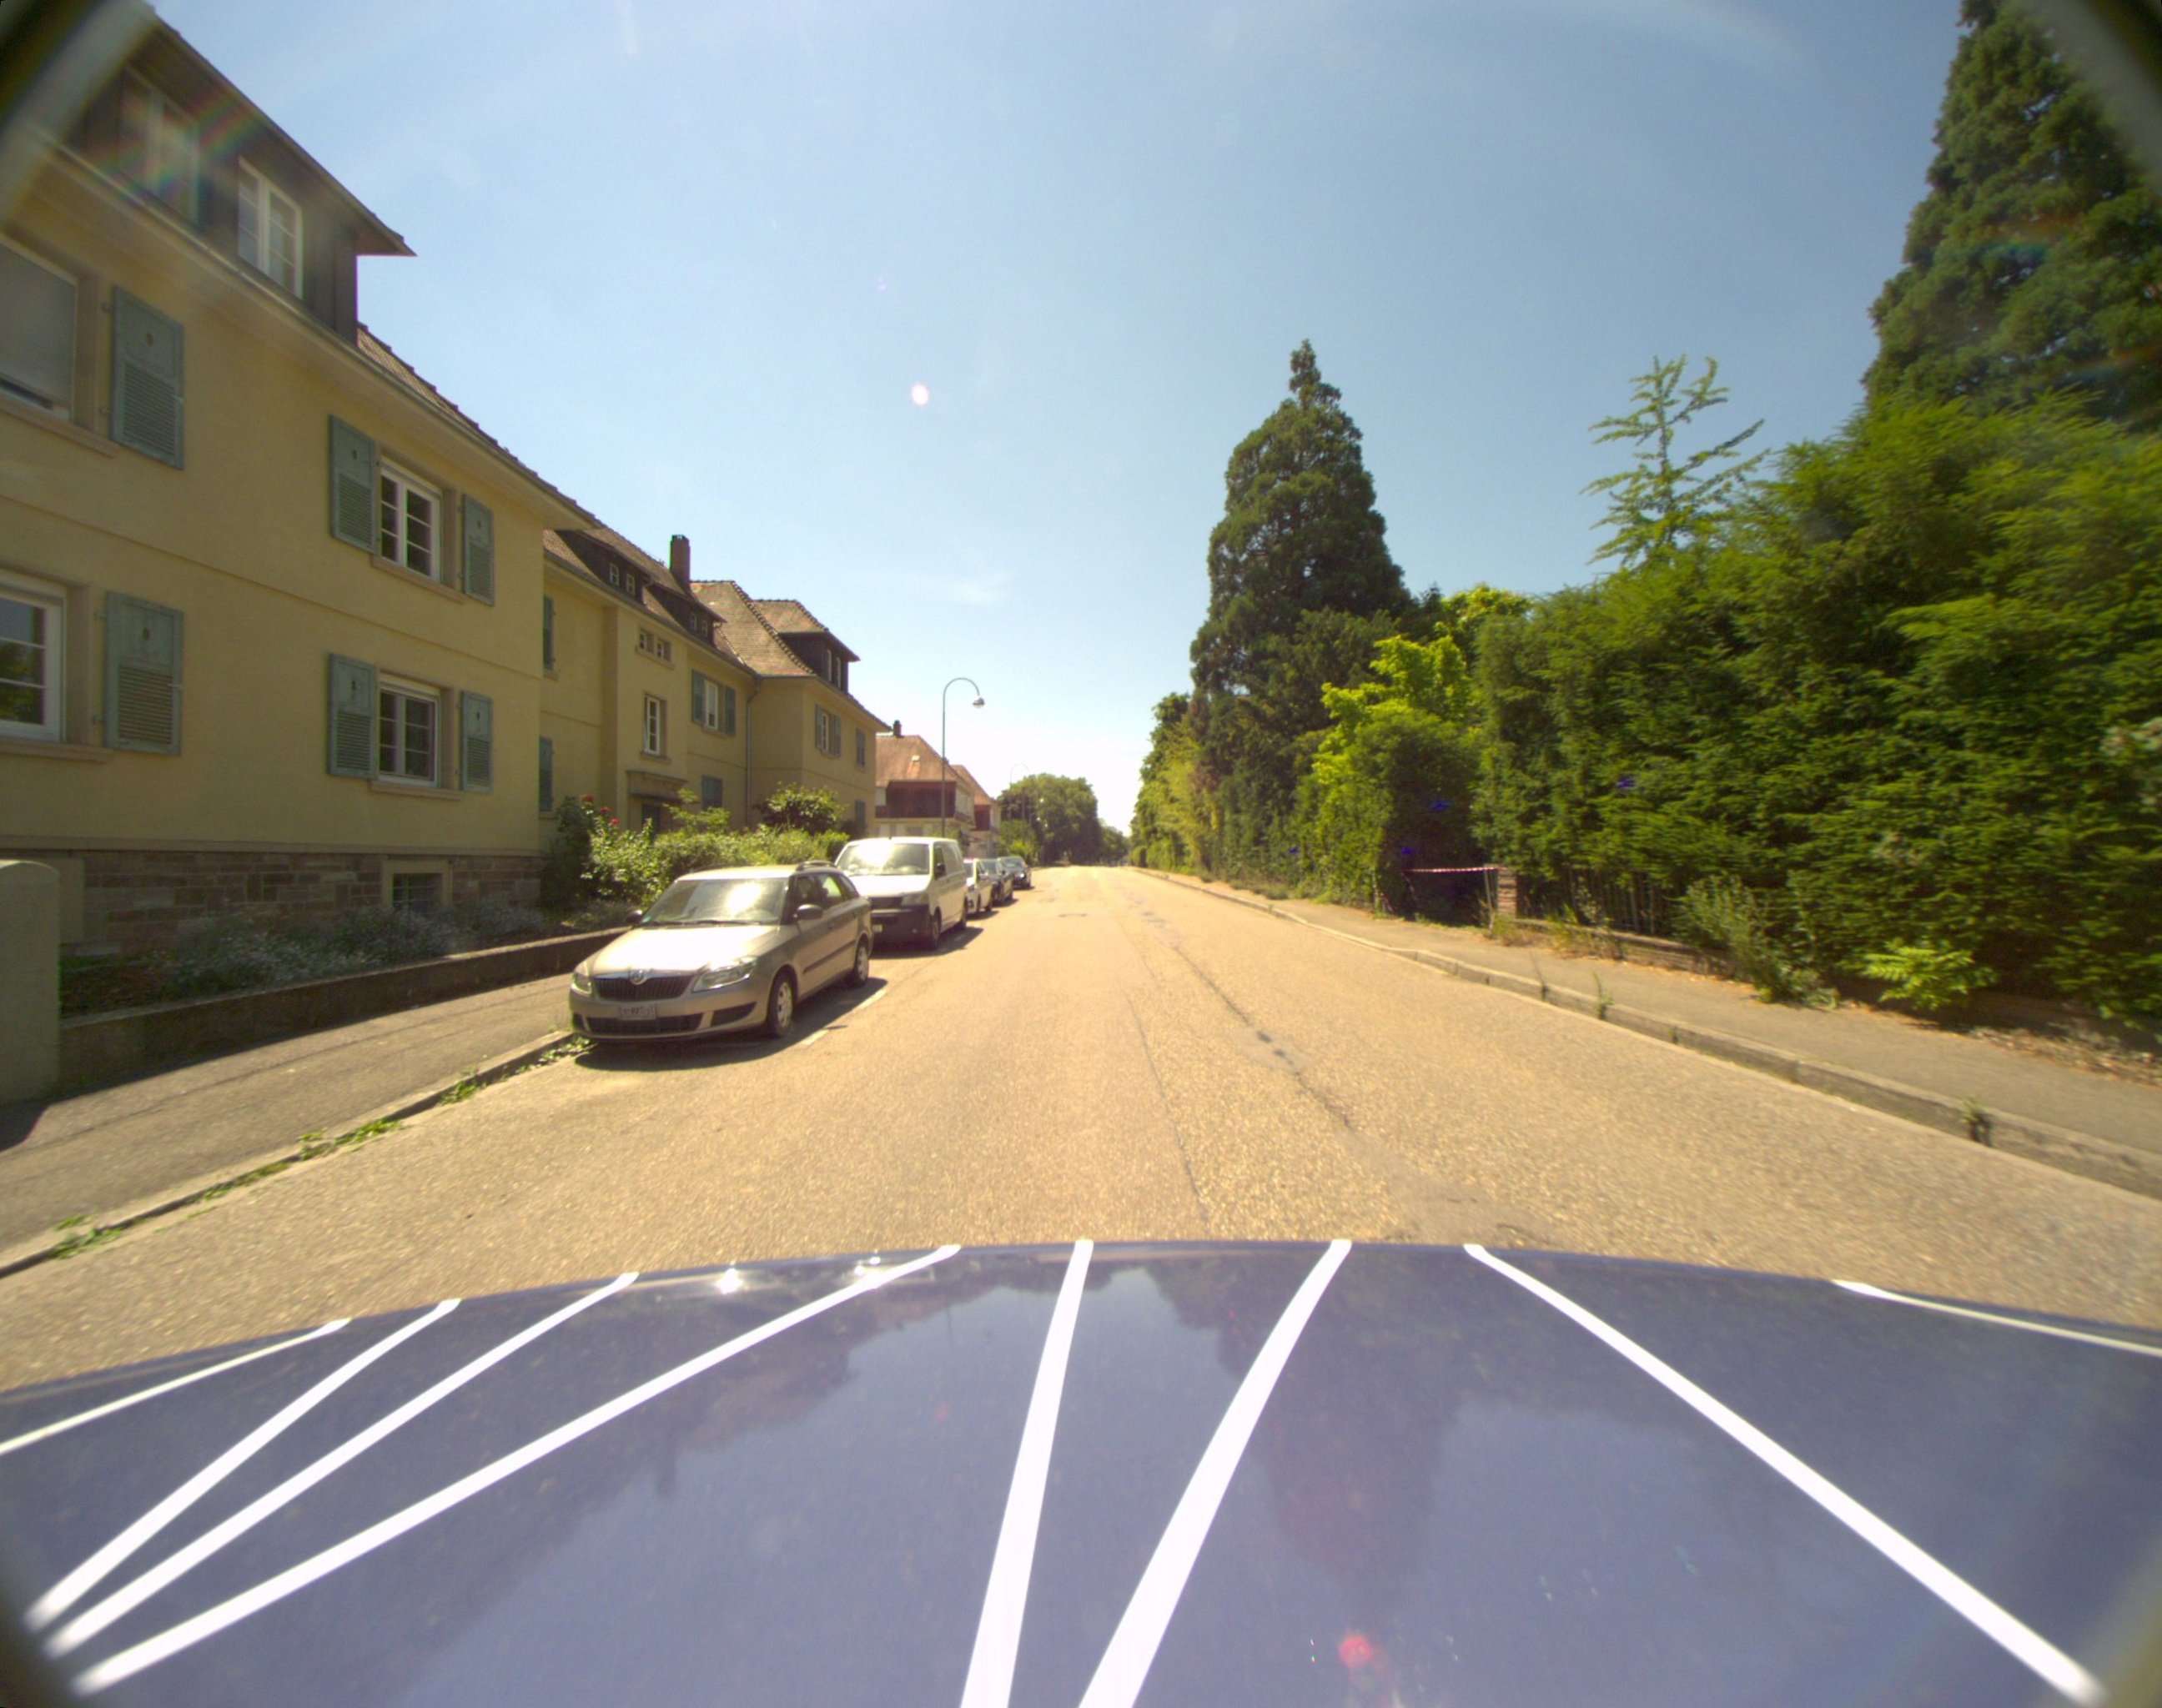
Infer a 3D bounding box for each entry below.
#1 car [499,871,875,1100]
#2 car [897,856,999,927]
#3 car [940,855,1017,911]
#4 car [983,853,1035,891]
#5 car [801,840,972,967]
[{"bbox_3d":[-3.374,0.992,7.471,1.600,1.495,3.999,-2,0,-1],"label":"car"},{"bbox_3d":[-3.254,0.853,19.407,1.806,1.505,4.337,-2,0,0],"label":"car"},{"bbox_3d":[-3.140,0.843,24.071,1.806,1.505,4.337,-2,0,0],"label":"car"},{"bbox_3d":[-3.085,0.738,33.341,1.806,1.505,4.337,-2,0,0],"label":"car"},{"bbox_3d":[-3.265,0.741,13.800,1.852,1.858,4.690,-2,0,0],"label":"car"}]
